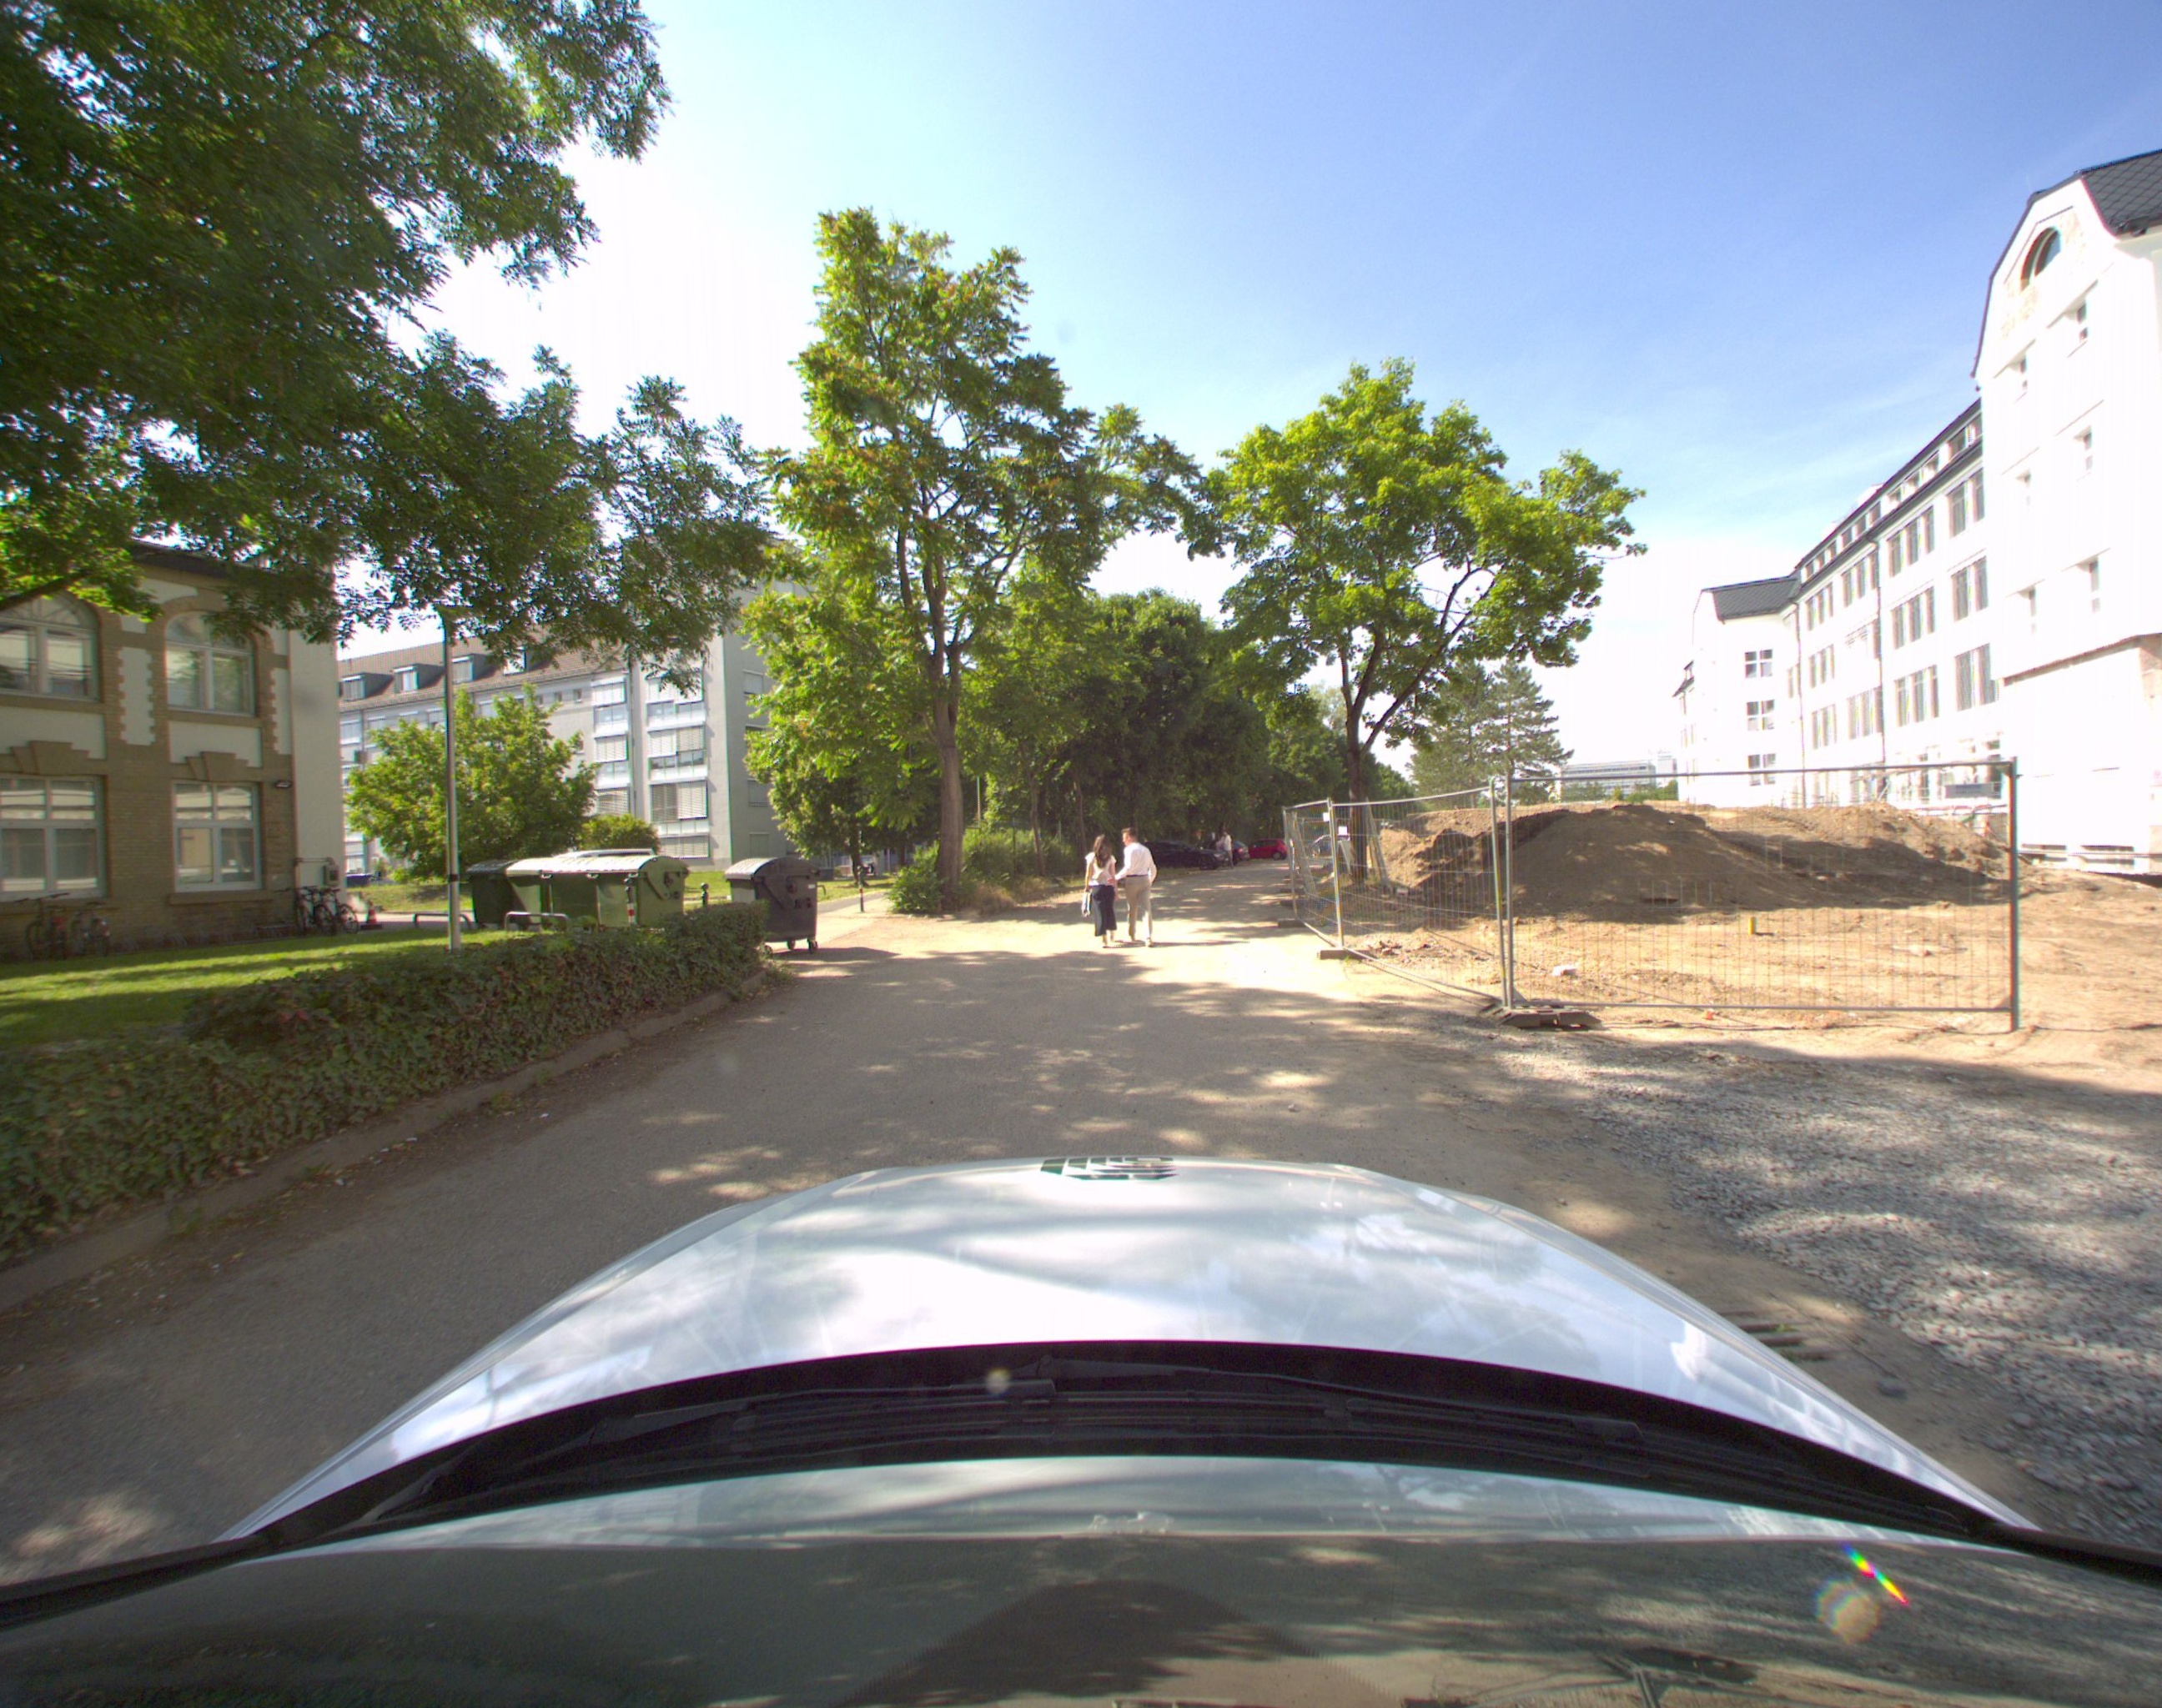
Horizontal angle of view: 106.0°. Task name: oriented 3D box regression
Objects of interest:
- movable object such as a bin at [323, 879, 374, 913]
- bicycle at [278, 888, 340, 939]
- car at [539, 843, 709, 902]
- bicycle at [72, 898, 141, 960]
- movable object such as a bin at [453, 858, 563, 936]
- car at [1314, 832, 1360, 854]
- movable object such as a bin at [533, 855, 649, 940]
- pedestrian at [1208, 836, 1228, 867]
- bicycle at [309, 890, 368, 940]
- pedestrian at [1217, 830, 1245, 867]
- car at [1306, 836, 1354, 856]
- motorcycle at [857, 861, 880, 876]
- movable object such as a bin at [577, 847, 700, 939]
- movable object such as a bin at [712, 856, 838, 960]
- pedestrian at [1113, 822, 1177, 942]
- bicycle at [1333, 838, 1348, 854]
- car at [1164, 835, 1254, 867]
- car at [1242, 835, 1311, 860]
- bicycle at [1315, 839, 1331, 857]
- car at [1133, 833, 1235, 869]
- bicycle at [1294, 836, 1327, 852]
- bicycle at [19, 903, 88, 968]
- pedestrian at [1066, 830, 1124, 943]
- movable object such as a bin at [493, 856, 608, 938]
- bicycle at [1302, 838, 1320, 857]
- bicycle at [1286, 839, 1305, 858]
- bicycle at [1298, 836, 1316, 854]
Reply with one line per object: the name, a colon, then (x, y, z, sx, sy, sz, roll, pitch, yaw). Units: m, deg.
movable object such as a bin: (-31.257, 1.797, 34.760, 1.127, 1.340, 1.259, -2, 1, 30)
bicycle: (-16.082, 1.222, 16.965, 1.609, 0.992, 0.449, -1, 2, 30)
car: (-16.519, 0.610, 29.758, 1.974, 1.933, 5.072, -2, 0, 29)
bicycle: (-17.193, 1.303, 14.360, 1.664, 0.992, 0.449, -1, 2, 30)
movable object such as a bin: (-11.366, 0.837, 16.174, 1.333, 1.431, 1.256, -2, 0, 27)
car: (24.672, -1.062, 78.534, 3.949, 2.013, 1.779, -1, 1, 30)
movable object such as a bin: (-8.866, 0.773, 14.778, 1.210, 1.431, 1.254, -2, 0, 16)
pedestrian: (7.340, -0.154, 43.672, 0.917, 1.595, 0.790, -2, 1, 19)
bicycle: (-15.902, 1.279, 17.427, 1.521, 0.992, 0.449, -1, 2, 30)
pedestrian: (7.404, -0.290, 40.232, 0.823, 1.781, 1.007, -2, 1, -32)
car: (23.211, -0.755, 75.897, 3.949, 1.771, 1.779, -1, 1, 30)
motorcycle: (-18.055, 1.236, 69.287, 0.622, 1.246, 2.075, -2, 0, 29)
movable object such as a bin: (-7.642, 0.657, 14.125, 1.323, 1.481, 1.255, -2, 0, 22)
movable object such as a bin: (-4.576, 0.758, 12.168, 1.256, 1.396, 1.387, -3, 1, -45)
pedestrian: (0.956, 0.399, 12.332, 0.754, 1.727, 0.852, -2, 1, -8)
bicycle: (22.079, -0.724, 69.271, 0.808, 1.284, 2.763, -2, 1, 27)
car: (7.110, -0.148, 45.292, 4.618, 1.584, 2.010, -2, 2, 18)
car: (13.343, -0.423, 55.626, 4.247, 1.524, 1.903, -2, 1, 25)
bicycle: (18.537, -0.479, 62.413, 0.707, 1.284, 2.653, -2, 1, 27)
car: (5.040, -0.150, 39.713, 4.618, 1.584, 2.010, -2, 2, 18)
bicycle: (19.578, -0.828, 69.537, 2.652, 1.284, 0.823, -2, 1, 21)
bicycle: (-17.497, 1.360, 13.865, 1.645, 0.992, 0.449, -1, 2, 30)
pedestrian: (0.197, 0.467, 12.350, 0.735, 1.640, 0.779, -2, 1, -7)
movable object such as a bin: (-10.056, 0.799, 15.459, 1.349, 1.431, 1.256, -2, 0, 26)
bicycle: (16.381, -0.489, 57.888, 0.707, 1.284, 2.700, -2, 1, 27)
bicycle: (15.687, -0.432, 59.567, 0.707, 1.284, 2.808, -2, 1, 27)
bicycle: (17.719, -0.723, 63.927, 0.808, 1.284, 2.700, -2, 1, 27)
